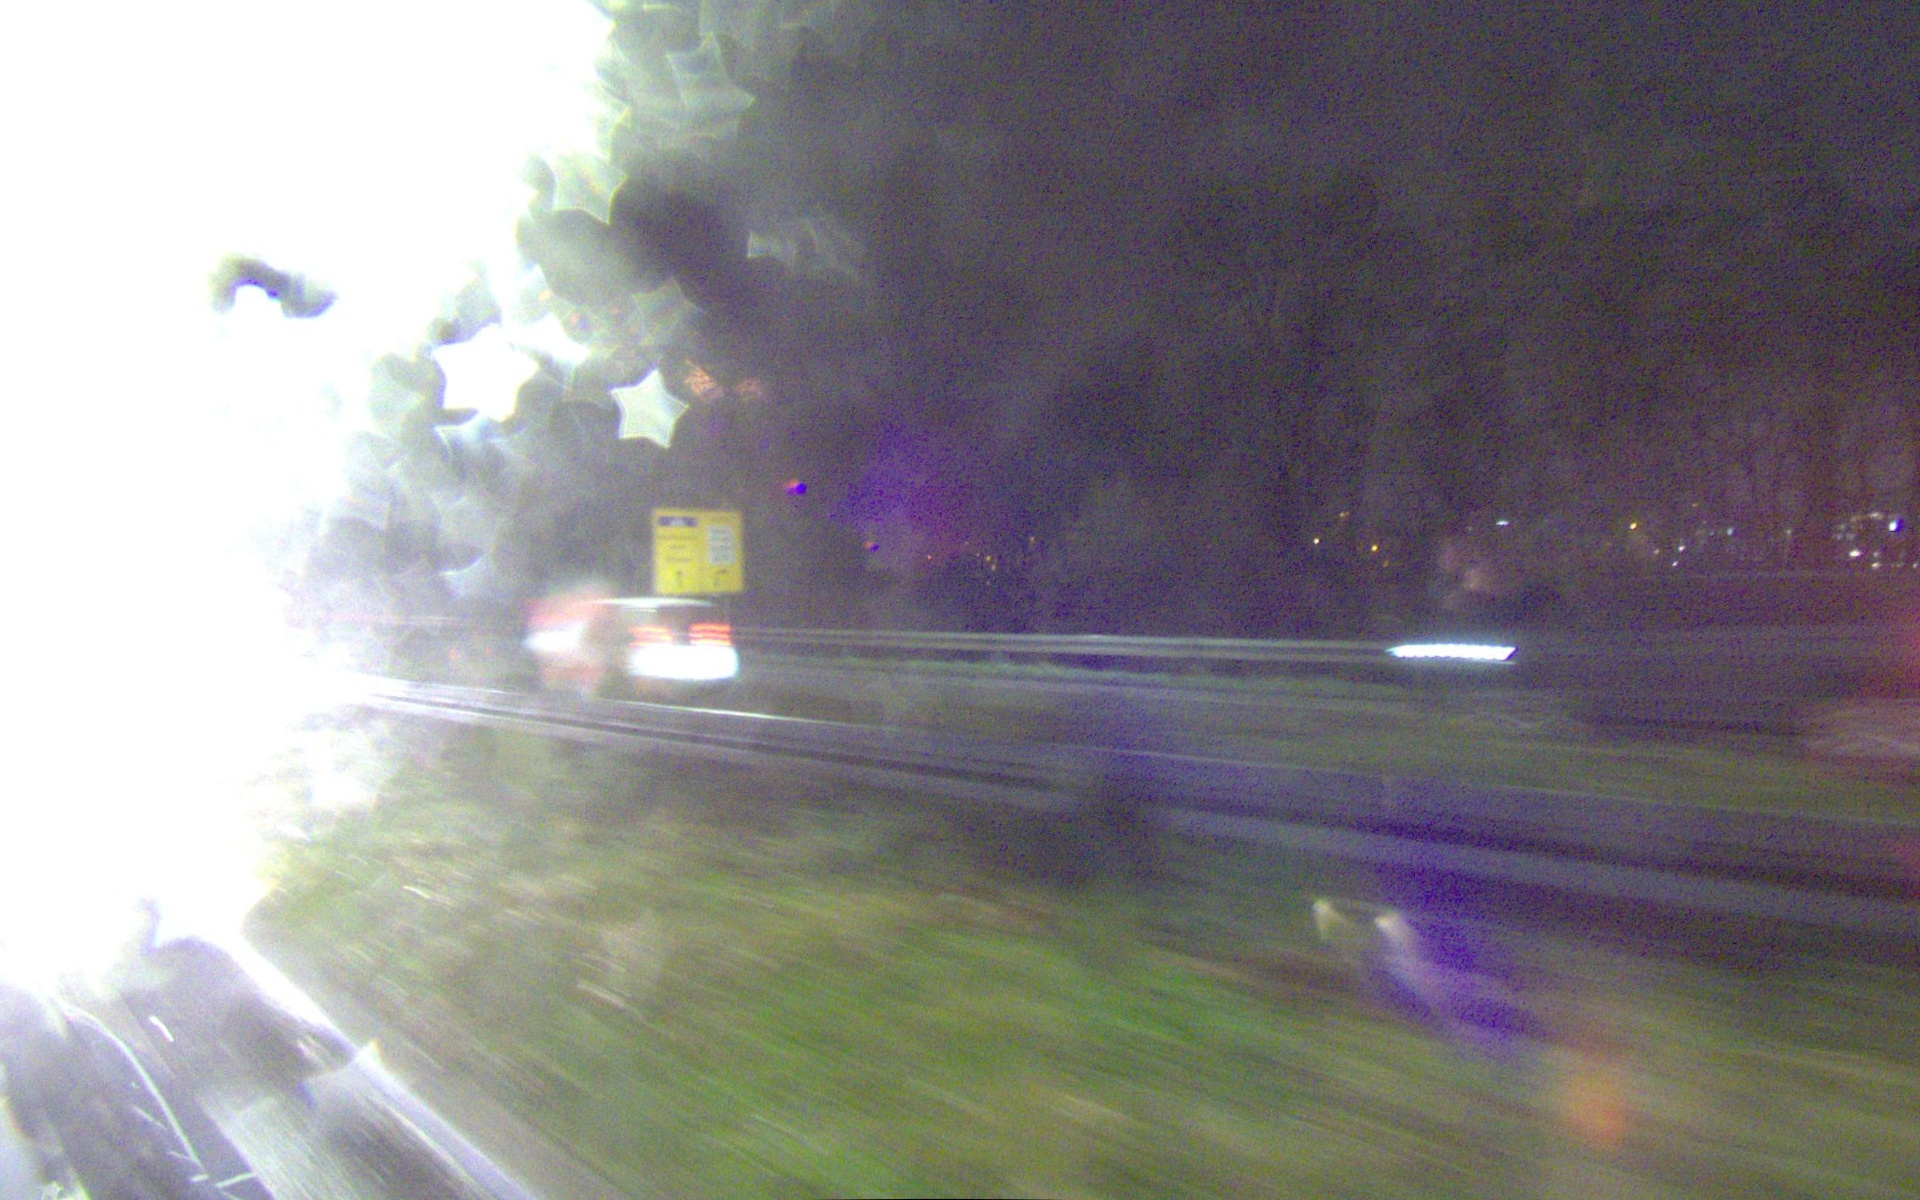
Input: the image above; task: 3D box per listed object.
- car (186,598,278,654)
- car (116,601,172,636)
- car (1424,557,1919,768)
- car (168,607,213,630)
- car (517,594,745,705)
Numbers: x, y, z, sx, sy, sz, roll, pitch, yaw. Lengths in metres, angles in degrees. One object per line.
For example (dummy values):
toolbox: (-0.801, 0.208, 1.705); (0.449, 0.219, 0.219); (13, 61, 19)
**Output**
car: (-24.841, 0.827, 34.485); (4.251, 1.643, 1.746); (2, 2, 43)
car: (-40.246, 0.872, 49.875); (1.847, 1.619, 4.253); (-1, 1, -43)
car: (6.830, 0.488, 9.134); (4.552, 1.605, 1.758); (-1, -1, 37)
car: (-56.165, 1.310, 73.825); (1.971, 1.519, 4.843); (-5, 3, -44)
car: (-5.329, 0.752, 16.257); (3.502, 1.583, 1.831); (-2, -1, 38)
